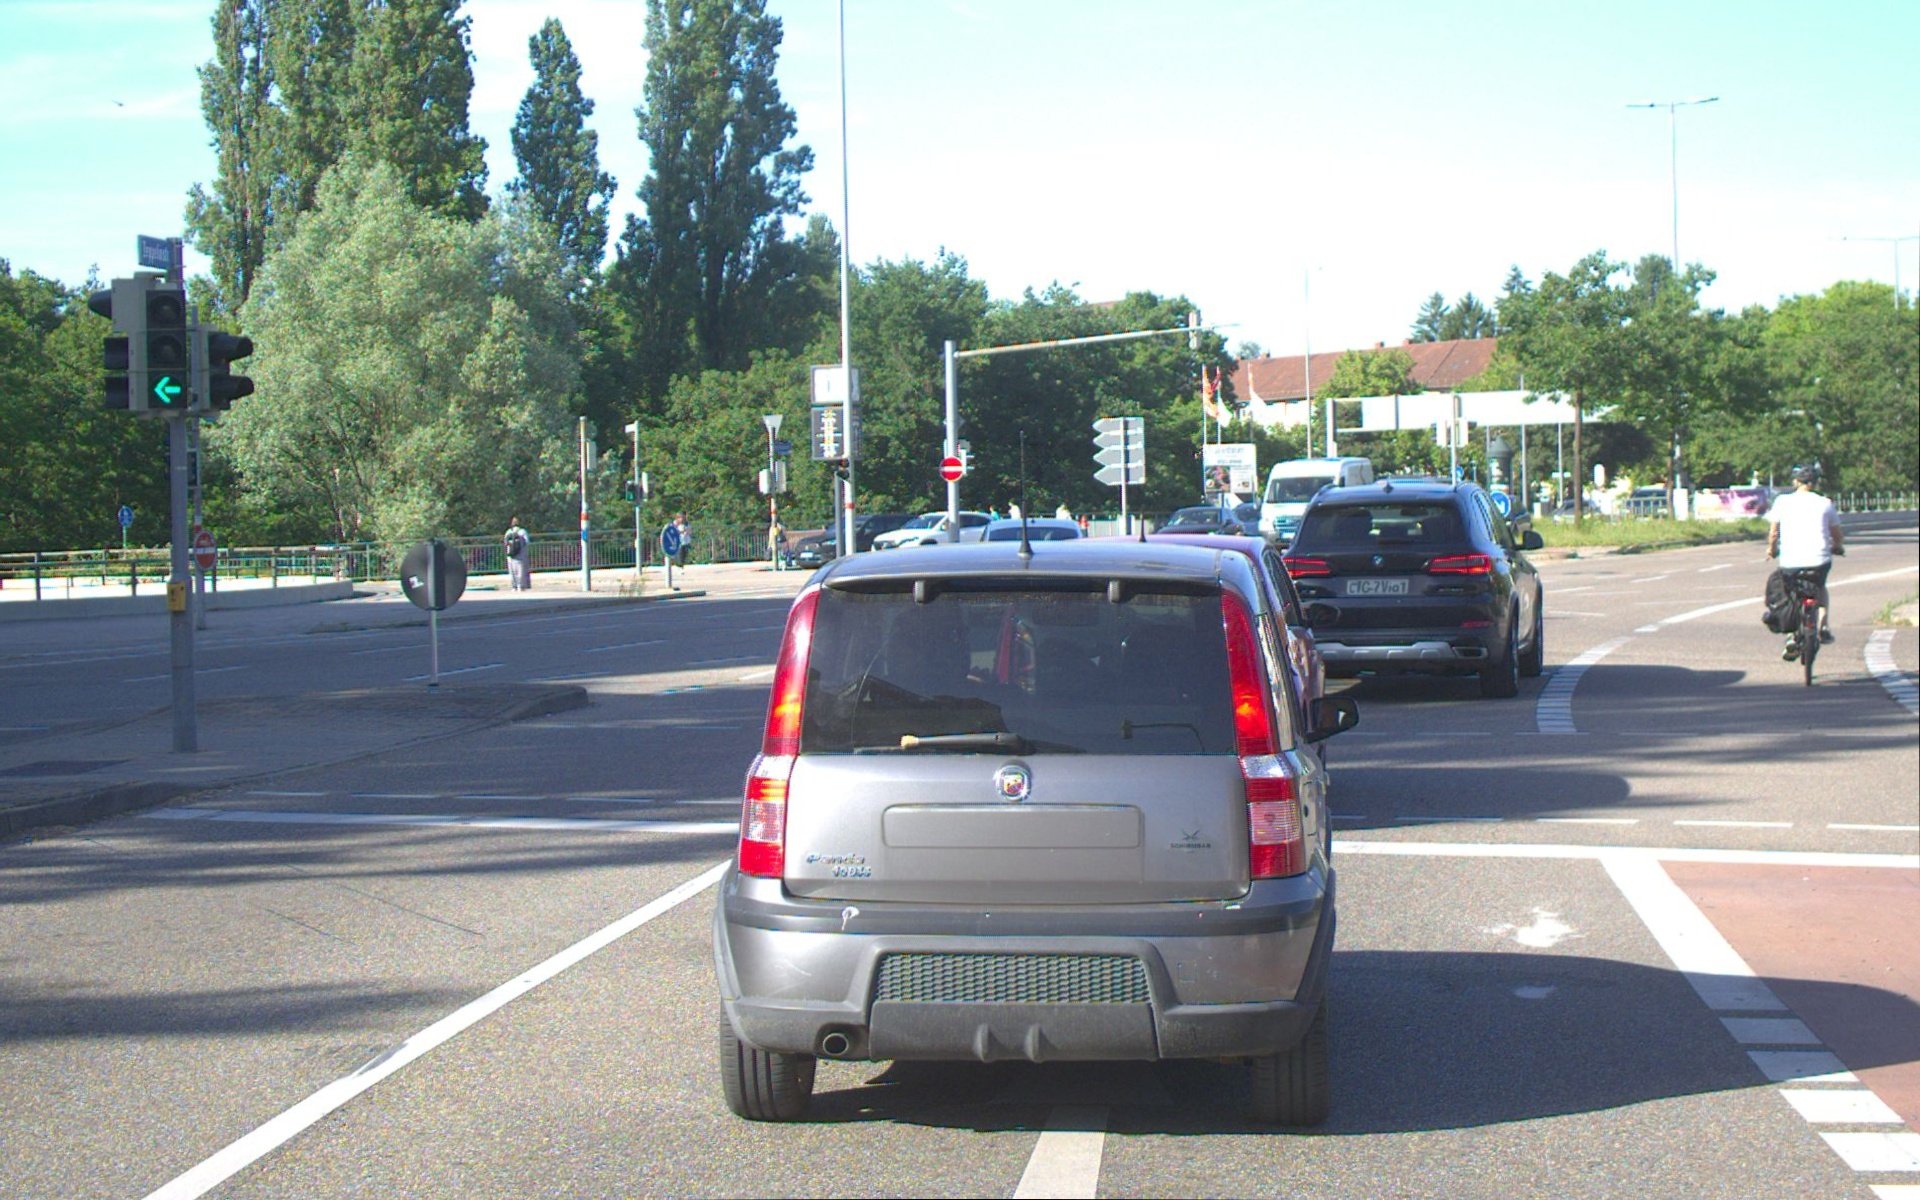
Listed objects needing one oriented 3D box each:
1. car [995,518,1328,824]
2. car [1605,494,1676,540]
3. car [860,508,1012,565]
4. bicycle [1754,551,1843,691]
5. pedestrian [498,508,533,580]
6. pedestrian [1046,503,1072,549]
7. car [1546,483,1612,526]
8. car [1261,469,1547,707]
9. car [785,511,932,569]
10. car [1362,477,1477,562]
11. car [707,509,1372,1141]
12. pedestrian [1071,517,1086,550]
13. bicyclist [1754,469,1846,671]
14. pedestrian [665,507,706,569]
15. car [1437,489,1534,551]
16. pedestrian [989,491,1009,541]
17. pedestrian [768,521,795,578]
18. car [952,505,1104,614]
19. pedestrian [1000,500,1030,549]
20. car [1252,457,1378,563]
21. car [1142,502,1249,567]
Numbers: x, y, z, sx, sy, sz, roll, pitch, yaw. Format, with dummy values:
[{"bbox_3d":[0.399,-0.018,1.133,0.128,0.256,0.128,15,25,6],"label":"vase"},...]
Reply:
[{"bbox_3d":[1.127,0.302,18.776,1.617,1.458,3.750,1,2,4],"label":"car"},{"bbox_3d":[24.932,-3.056,125.819,1.938,1.616,4.502,-1,2,19],"label":"car"},{"bbox_3d":[-0.667,-1.847,98.669,4.317,1.530,1.784,-3,3,-43],"label":"car"},{"bbox_3d":[7.016,0.159,28.723,0.691,1.098,1.825,0,2,14],"label":"bicycle"},{"bbox_3d":[-9.197,-1.164,71.178,0.679,1.458,0.703,-1,1,-8],"label":"pedestrian"},{"bbox_3d":[3.484,-2.607,121.142,0.721,1.635,0.672,1,0,23],"label":"pedestrian"},{"bbox_3d":[27.418,-4.208,152.100,1.996,1.810,3.995,1,0,23],"label":"car"},{"bbox_3d":[3.802,-0.148,28.870,1.946,1.833,4.150,-1,2,13],"label":"car"},{"bbox_3d":[-2.981,-1.746,101.256,3.988,1.620,1.900,1,0,-41],"label":"car"},{"bbox_3d":[11.291,-1.991,84.191,1.938,2.001,4.927,-1,2,18],"label":"car"},{"bbox_3d":[0.330,0.499,10.362,1.617,1.510,3.819,1,2,4],"label":"car"},{"bbox_3d":[4.175,-2.341,121.021,0.424,1.132,0.397,0,0,23],"label":"pedestrian"},{"bbox_3d":[7.028,-0.264,28.757,0.724,1.654,1.112,0,2,14],"label":"bicyclist"},{"bbox_3d":[-6.997,-1.575,87.618,0.709,1.542,0.728,-2,0,-37],"label":"pedestrian"},{"bbox_3d":[14.523,-2.226,94.856,1.938,1.616,4.502,-1,2,18],"label":"car"},{"bbox_3d":[1.325,-2.869,117.154,0.499,1.696,0.499,0,0,22],"label":"pedestrian"},{"bbox_3d":[-4.885,-1.372,93.921,0.556,1.542,0.576,-2,0,-18],"label":"pedestrian"},{"bbox_3d":[0.893,-0.592,47.387,1.780,1.410,4.319,-1,2,-3],"label":"car"},{"bbox_3d":[1.851,-2.546,116.494,0.791,1.658,0.628,0,0,38],"label":"pedestrian"},{"bbox_3d":[9.082,-2.311,87.577,1.938,2.567,6.084,-1,2,18],"label":"car"},{"bbox_3d":[6.090,-1.701,88.526,1.938,1.502,3.998,-2,1,15],"label":"car"}]
